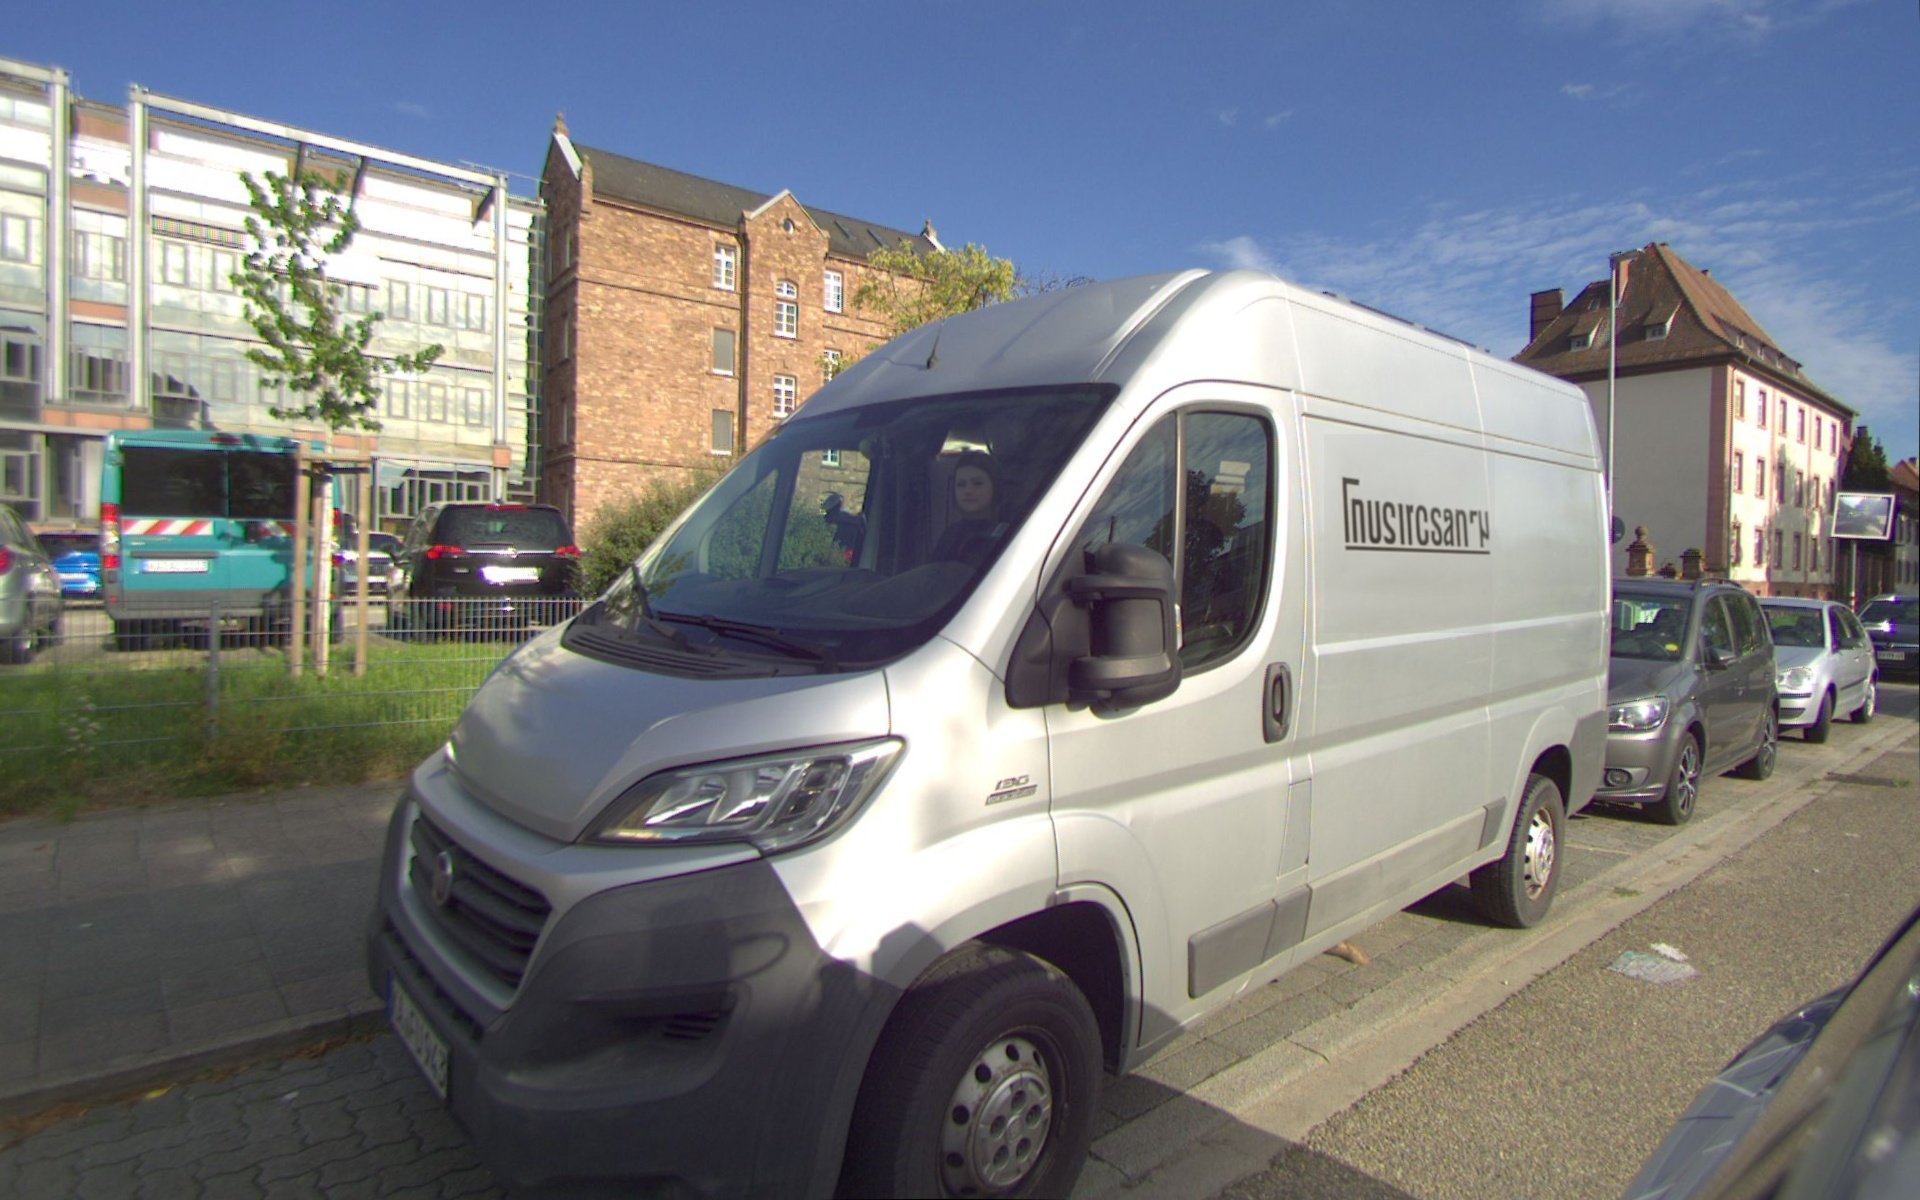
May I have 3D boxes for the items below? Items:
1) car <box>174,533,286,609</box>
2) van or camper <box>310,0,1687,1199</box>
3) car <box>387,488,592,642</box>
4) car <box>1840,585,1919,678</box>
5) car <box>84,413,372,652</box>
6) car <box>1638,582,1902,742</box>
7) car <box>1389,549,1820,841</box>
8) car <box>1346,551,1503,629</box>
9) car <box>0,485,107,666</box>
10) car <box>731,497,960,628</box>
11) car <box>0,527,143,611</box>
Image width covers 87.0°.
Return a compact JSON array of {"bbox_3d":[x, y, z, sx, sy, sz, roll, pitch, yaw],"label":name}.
[{"bbox_3d":[-15.980,-0.625,22.312,1.834,1.522,4.092,0,1,-34],"label":"car"},{"bbox_3d":[0.919,0.005,4.207,5.813,2.557,2.163,0,4,-43],"label":"van or camper"},{"bbox_3d":[-5.940,-0.405,12.526,1.834,1.584,3.802,0,1,-32],"label":"car"},{"bbox_3d":[17.374,0.535,18.219,3.929,1.504,1.662,0,3,-40],"label":"car"},{"bbox_3d":[-8.392,-0.678,11.871,2.321,2.219,4.283,0,1,-34],"label":"car"},{"bbox_3d":[9.439,0.579,11.688,3.930,1.504,1.661,0,2,-41],"label":"car"},{"bbox_3d":[5.206,0.525,7.942,4.130,1.668,1.677,0,4,-41],"label":"car"},{"bbox_3d":[11.392,-0.253,24.748,4.017,1.740,1.889,0,2,-39],"label":"car"},{"bbox_3d":[-9.731,-0.249,9.682,1.834,1.500,4.094,0,1,-32],"label":"car"},{"bbox_3d":[-1.821,-0.525,15.071,1.834,1.679,3.800,0,1,-34],"label":"car"},{"bbox_3d":[-17.729,-0.605,20.196,1.834,1.500,4.092,0,1,-34],"label":"car"}]
